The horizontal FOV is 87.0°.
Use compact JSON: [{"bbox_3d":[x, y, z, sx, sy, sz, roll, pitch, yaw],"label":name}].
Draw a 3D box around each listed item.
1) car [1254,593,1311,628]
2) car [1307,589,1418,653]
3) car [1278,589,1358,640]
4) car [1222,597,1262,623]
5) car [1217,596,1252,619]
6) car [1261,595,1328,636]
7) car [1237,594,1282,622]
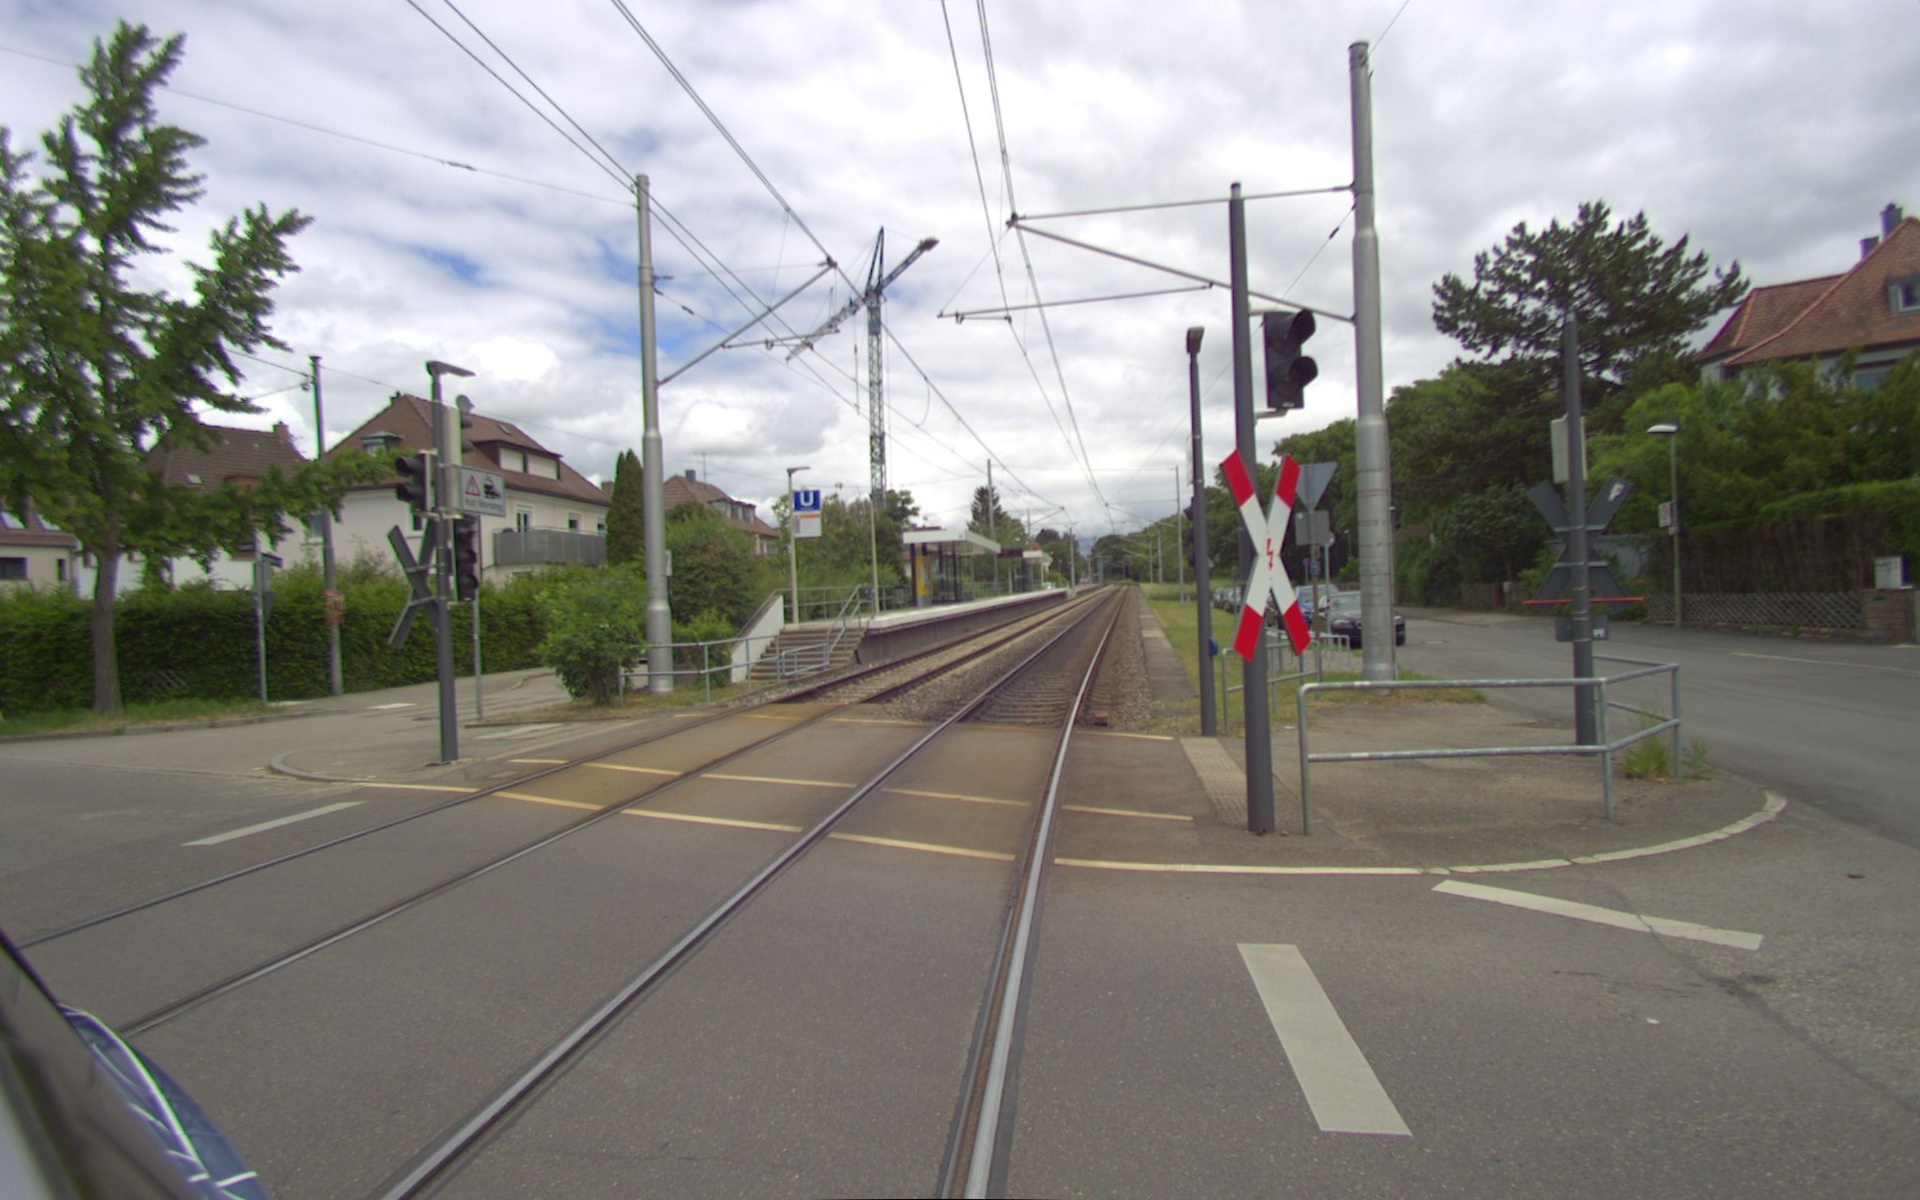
[{"bbox_3d":[14.049,0.456,44.282,1.835,1.386,3.987,-3,-1,11],"label":"car"},{"bbox_3d":[10.795,0.540,27.434,1.801,1.513,4.109,-3,-1,8],"label":"car"},{"bbox_3d":[11.860,0.477,33.786,1.835,1.492,3.987,-3,-1,11],"label":"car"},{"bbox_3d":[16.677,0.584,59.931,1.835,1.386,3.987,-3,-1,11],"label":"car"},{"bbox_3d":[17.951,0.472,66.395,1.835,1.386,3.987,-3,-1,11],"label":"car"},{"bbox_3d":[12.648,0.577,38.475,1.835,1.386,3.987,-3,-1,11],"label":"car"},{"bbox_3d":[16.176,0.424,54.881,1.835,1.386,3.987,-3,-1,11],"label":"car"}]
